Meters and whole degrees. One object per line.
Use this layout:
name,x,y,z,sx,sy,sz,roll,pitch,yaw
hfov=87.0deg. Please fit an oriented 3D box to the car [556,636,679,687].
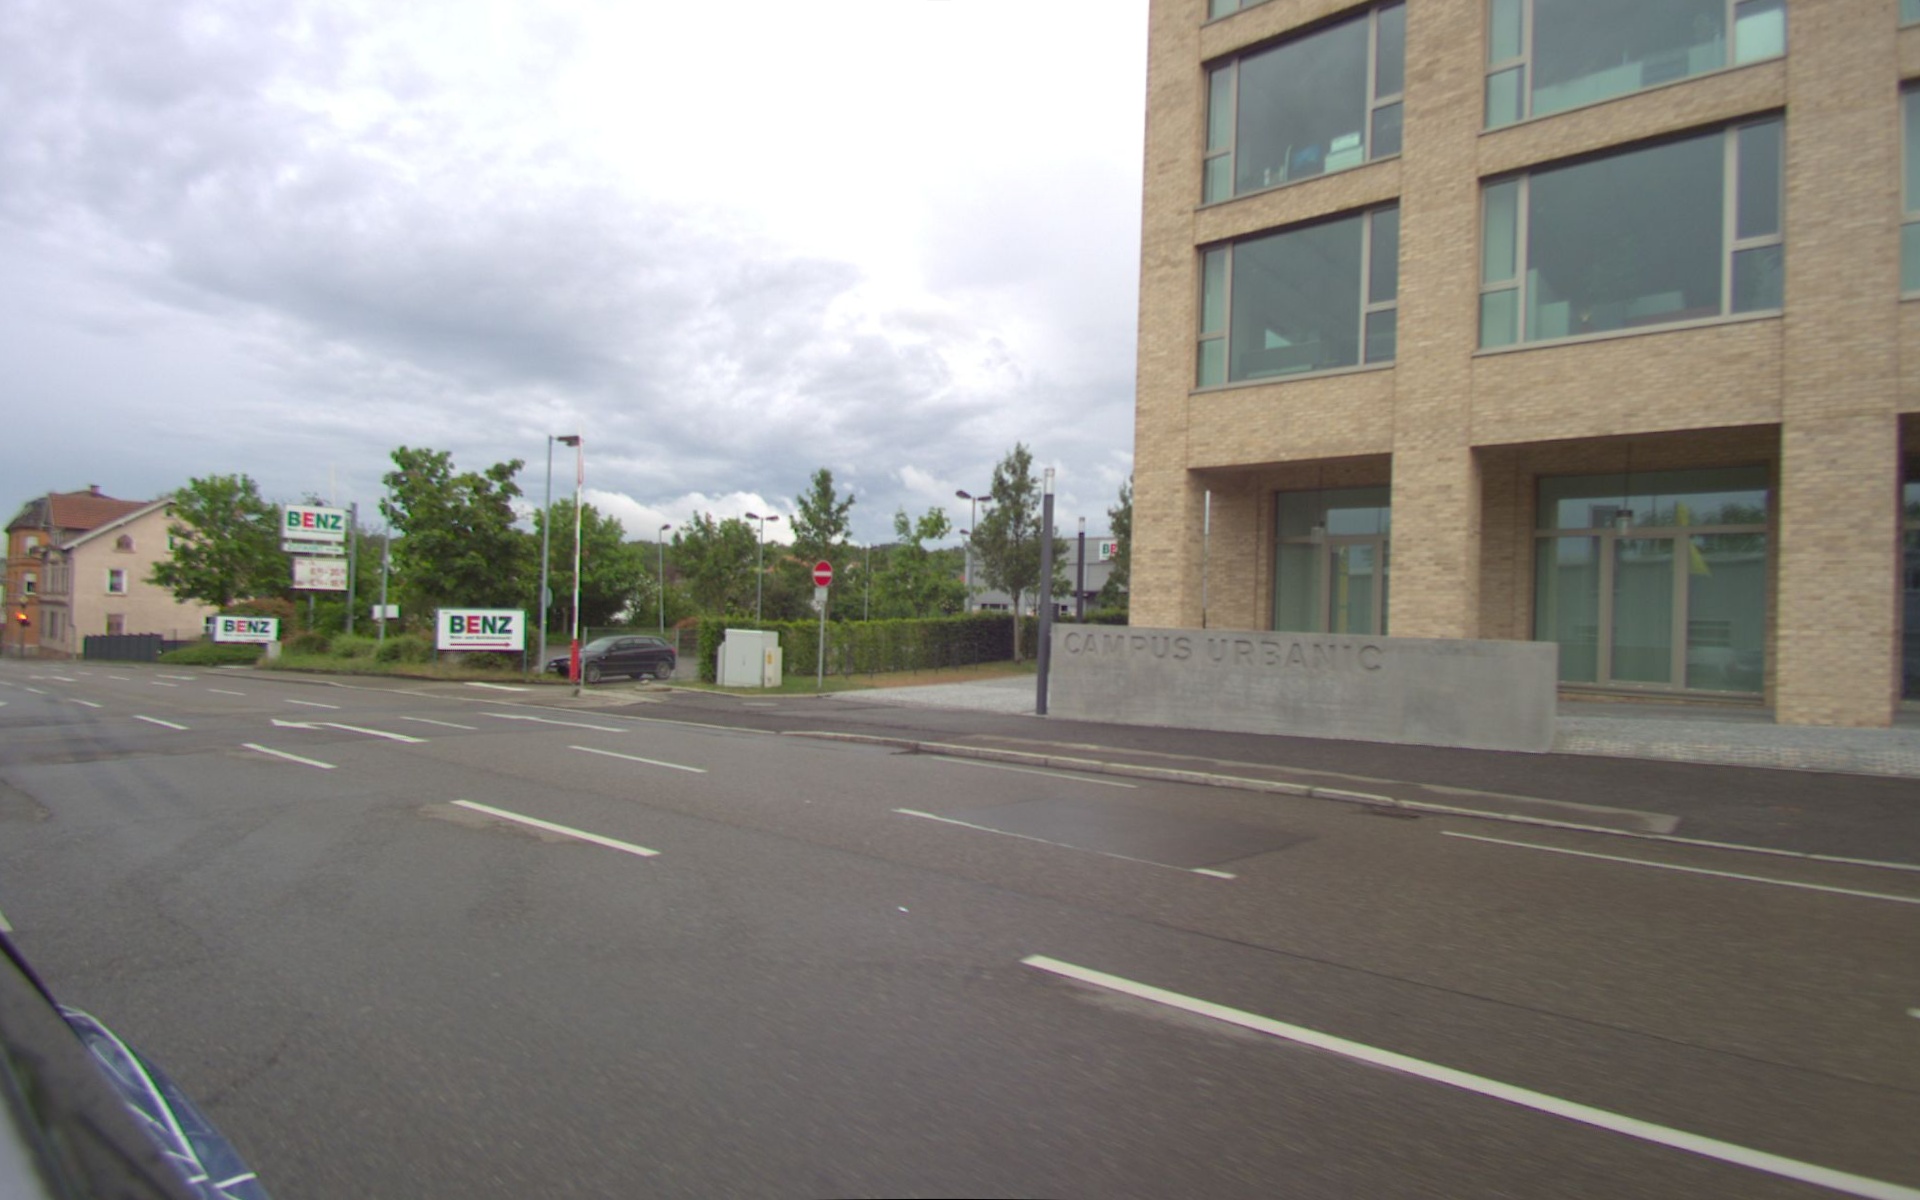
car,-10.882,1.914,32.293,1.542,1.475,3.451,-2,-2,40
